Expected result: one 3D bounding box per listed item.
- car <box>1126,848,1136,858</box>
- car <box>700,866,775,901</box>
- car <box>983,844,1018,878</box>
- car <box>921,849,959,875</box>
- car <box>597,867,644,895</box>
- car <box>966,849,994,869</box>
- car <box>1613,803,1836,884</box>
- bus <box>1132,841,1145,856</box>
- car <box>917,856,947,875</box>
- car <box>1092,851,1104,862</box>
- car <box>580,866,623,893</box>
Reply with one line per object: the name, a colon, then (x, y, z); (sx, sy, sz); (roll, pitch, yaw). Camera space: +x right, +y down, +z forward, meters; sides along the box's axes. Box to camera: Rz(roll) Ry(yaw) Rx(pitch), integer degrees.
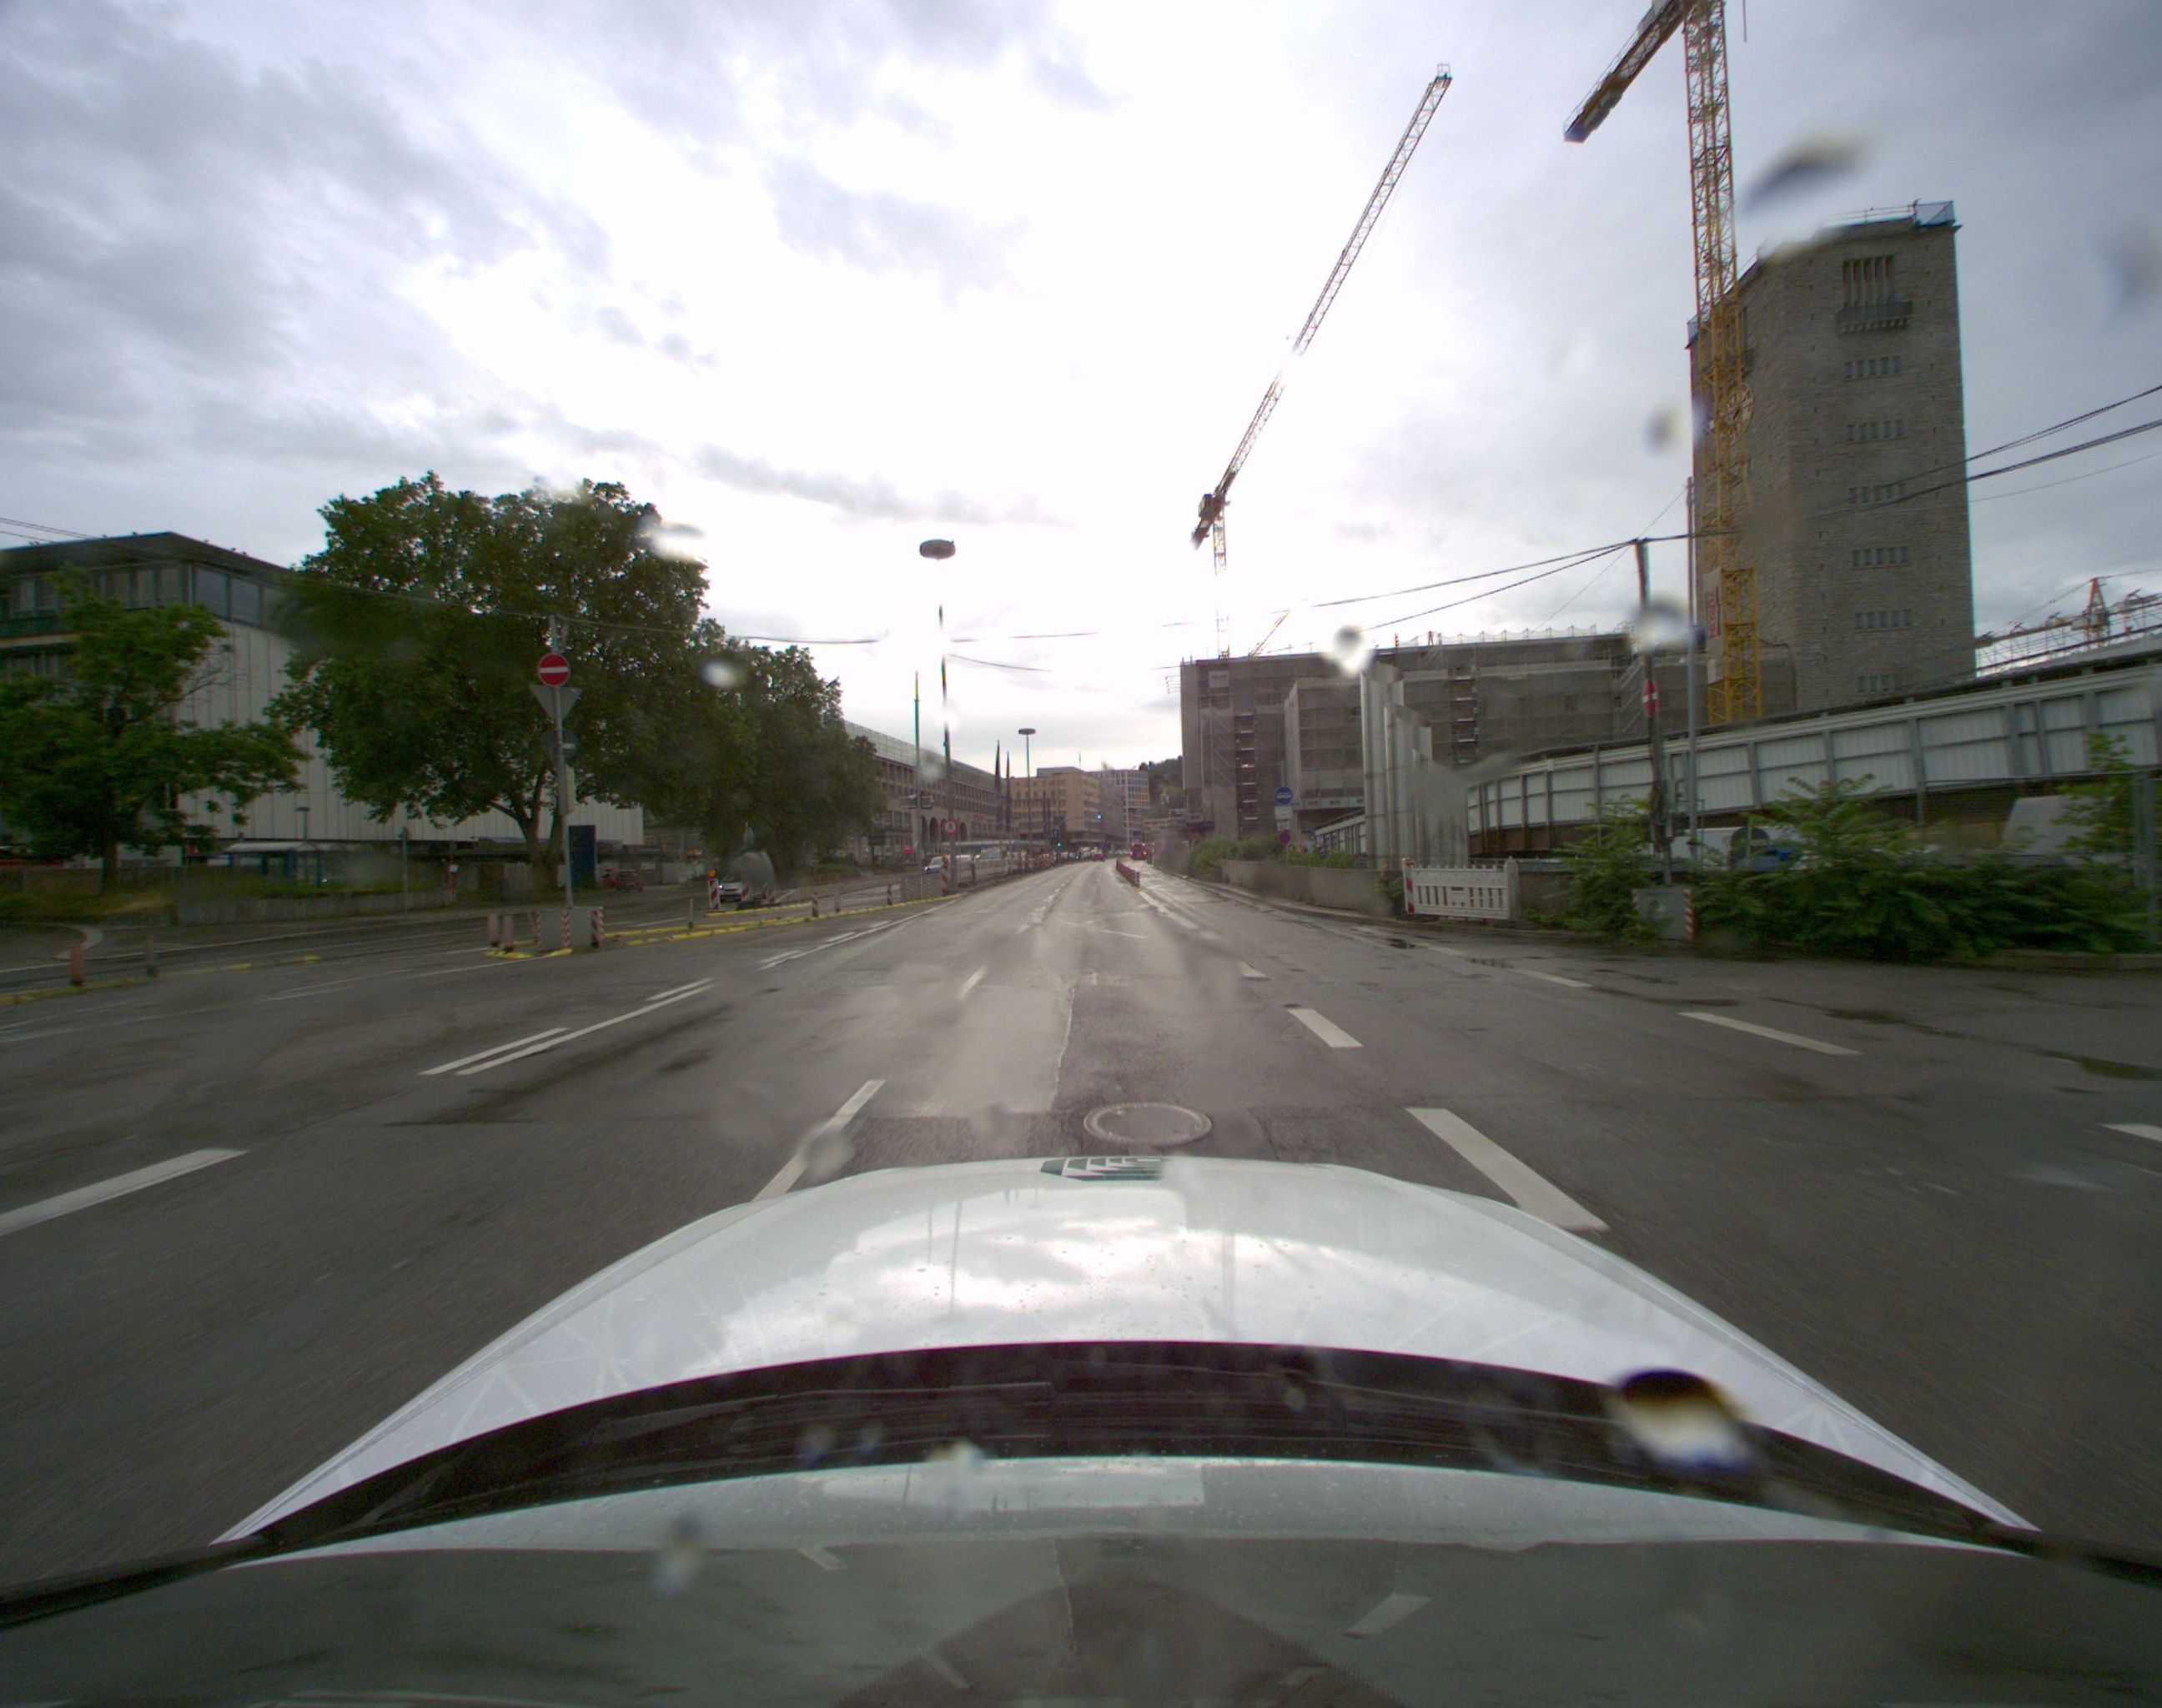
car: (11.390, -0.210, 185.415); (1.983, 2.014, 4.007); (-4, -2, 6)
car: (-16.876, 1.465, 40.256); (1.896, 1.528, 4.175); (-4, -2, -1)
car: (-5.587, 0.527, 57.087); (1.896, 2.083, 4.175); (-4, -2, -1)
car: (-9.828, 0.590, 57.071); (1.896, 1.528, 4.175); (-4, -2, -1)
car: (-29.441, 1.725, 52.014); (1.918, 1.528, 3.958); (-2, -3, -39)
car: (-8.898, 0.500, 72.220); (1.896, 1.528, 4.175); (-4, -2, -1)
car: (18.925, -0.294, 24.126); (2.367, 2.131, 4.821); (-2, 1, -40)
bus: (10.570, -1.028, 150.191); (1.983, 2.431, 4.008); (-4, -2, 7)
car: (-13.574, 1.051, 74.361); (1.896, 1.528, 4.175); (-4, -2, -1)
car: (2.794, 0.429, 133.833); (1.896, 1.528, 4.175); (-4, -2, -1)
car: (-33.055, 1.781, 56.075); (1.918, 1.528, 3.958); (-2, -3, -39)
